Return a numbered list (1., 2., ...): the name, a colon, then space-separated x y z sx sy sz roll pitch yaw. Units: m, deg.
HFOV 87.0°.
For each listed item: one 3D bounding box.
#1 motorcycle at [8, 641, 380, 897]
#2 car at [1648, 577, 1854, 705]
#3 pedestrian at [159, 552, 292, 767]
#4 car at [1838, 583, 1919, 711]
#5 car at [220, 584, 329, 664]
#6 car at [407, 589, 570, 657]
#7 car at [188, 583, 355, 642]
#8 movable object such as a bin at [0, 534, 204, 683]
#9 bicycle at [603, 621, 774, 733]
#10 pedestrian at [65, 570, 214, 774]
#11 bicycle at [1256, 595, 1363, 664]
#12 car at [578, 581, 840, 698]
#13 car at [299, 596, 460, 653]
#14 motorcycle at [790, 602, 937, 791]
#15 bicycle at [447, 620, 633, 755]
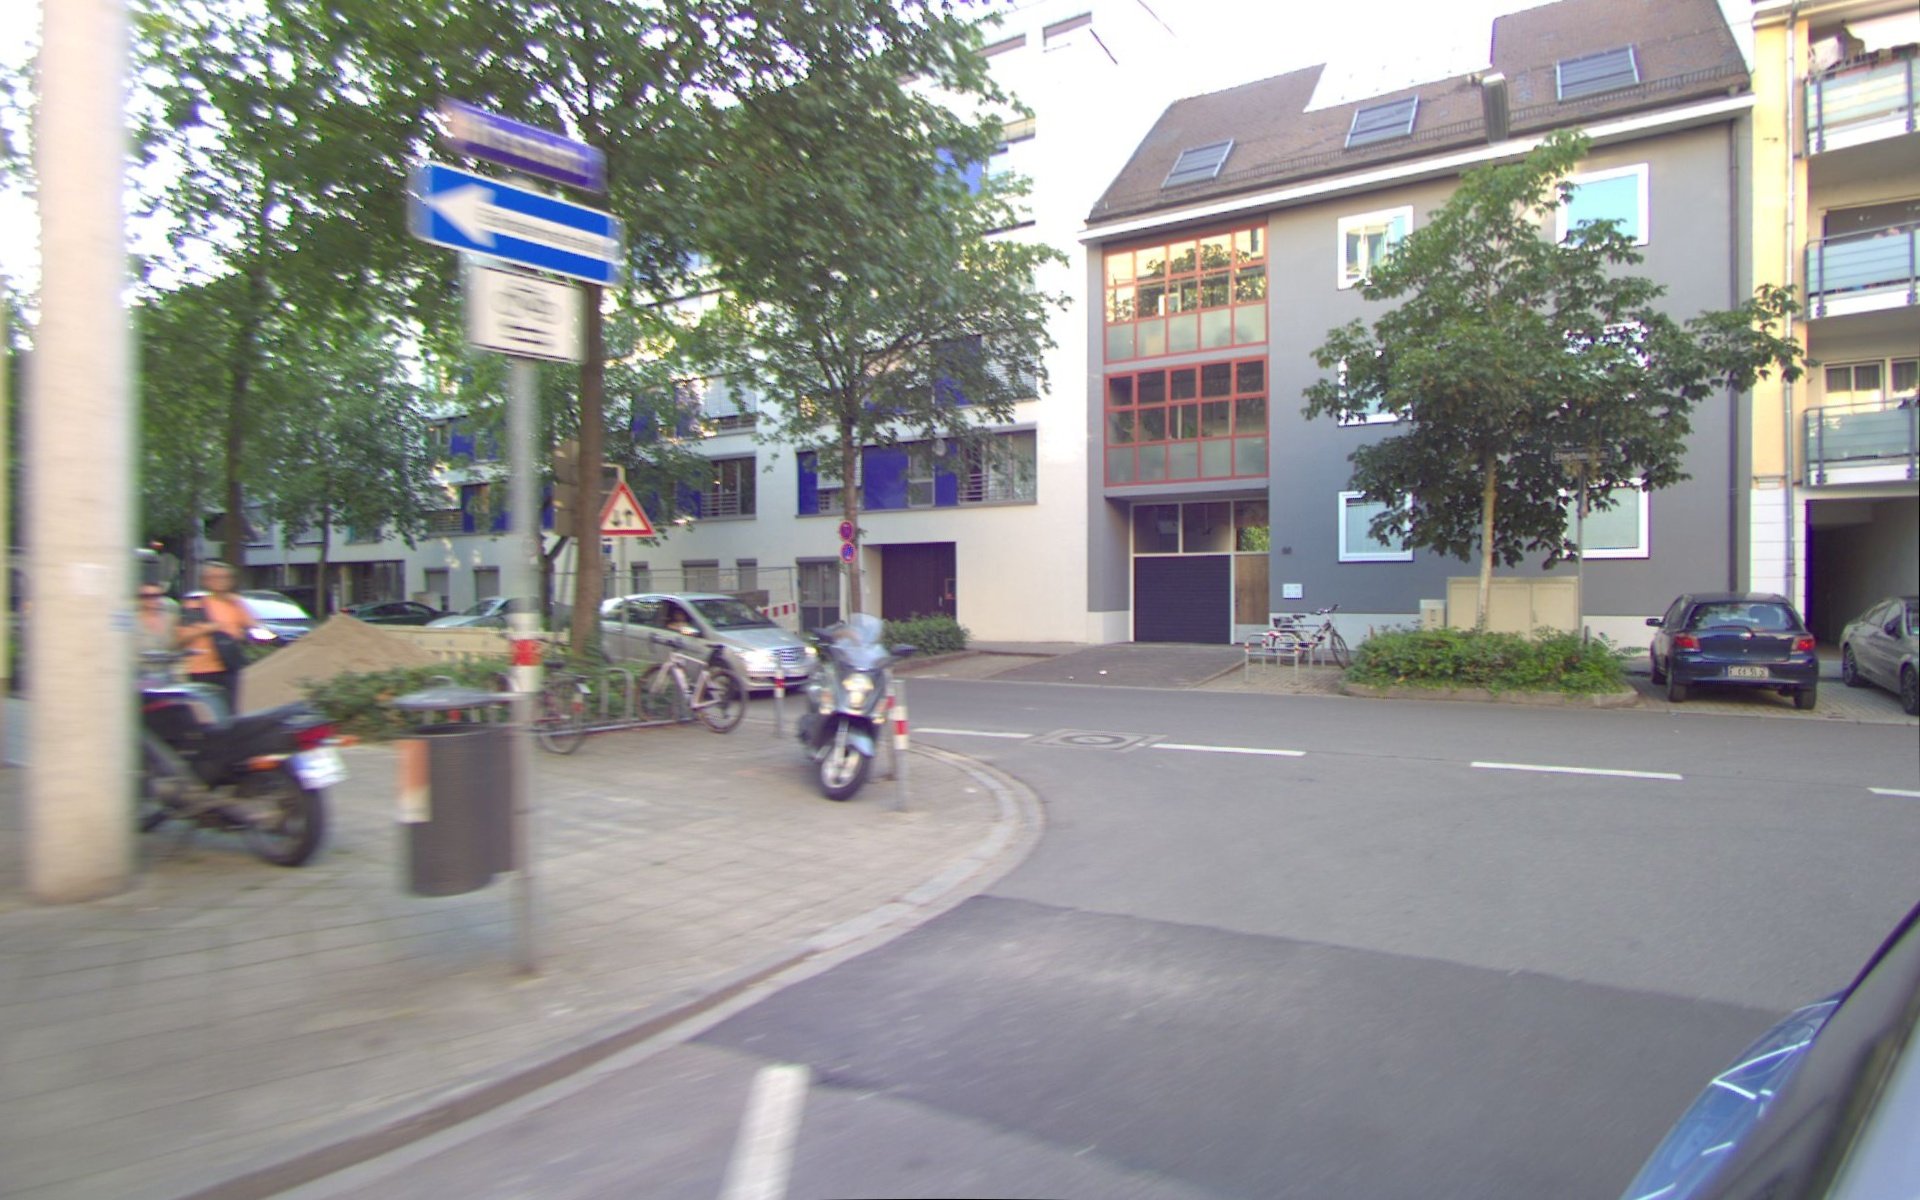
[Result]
1. motorcycle: -4.298 0.853 5.640 2.280 1.186 0.554 0 0 22
2. car: 11.180 0.494 14.561 1.816 1.584 3.513 -1 0 30
3. pedestrian: -6.185 0.469 8.532 0.602 1.711 0.733 -1 0 32
4. car: 13.595 0.574 13.464 1.994 1.591 4.588 0 0 30
5. car: -16.858 0.502 24.800 1.920 1.735 4.699 -1 1 -38
6. car: -13.931 0.620 30.071 1.986 1.827 3.952 0 0 34
7. car: -25.297 0.434 37.366 1.983 2.039 4.704 0 -1 30
8. movable object such as a bin: -16.287 0.118 17.779 2.755 2.413 4.025 0 1 25
9. bicycle: -3.150 0.846 11.701 1.960 1.167 0.679 0 1 26
10. pedestrian: -6.651 0.545 8.220 0.637 1.555 0.764 -1 0 30
11. bicycle: 6.715 0.544 19.450 1.791 1.250 0.820 0 1 35
12. car: -4.096 0.527 16.278 4.096 1.633 1.989 0 1 37
13. car: -18.158 0.717 31.829 1.985 1.605 3.955 0 0 32
14. motorcycle: -0.884 0.693 8.461 1.045 1.298 2.360 0 1 -10
15. bicycle: -4.145 0.803 9.942 1.965 1.167 0.677 0 1 32
